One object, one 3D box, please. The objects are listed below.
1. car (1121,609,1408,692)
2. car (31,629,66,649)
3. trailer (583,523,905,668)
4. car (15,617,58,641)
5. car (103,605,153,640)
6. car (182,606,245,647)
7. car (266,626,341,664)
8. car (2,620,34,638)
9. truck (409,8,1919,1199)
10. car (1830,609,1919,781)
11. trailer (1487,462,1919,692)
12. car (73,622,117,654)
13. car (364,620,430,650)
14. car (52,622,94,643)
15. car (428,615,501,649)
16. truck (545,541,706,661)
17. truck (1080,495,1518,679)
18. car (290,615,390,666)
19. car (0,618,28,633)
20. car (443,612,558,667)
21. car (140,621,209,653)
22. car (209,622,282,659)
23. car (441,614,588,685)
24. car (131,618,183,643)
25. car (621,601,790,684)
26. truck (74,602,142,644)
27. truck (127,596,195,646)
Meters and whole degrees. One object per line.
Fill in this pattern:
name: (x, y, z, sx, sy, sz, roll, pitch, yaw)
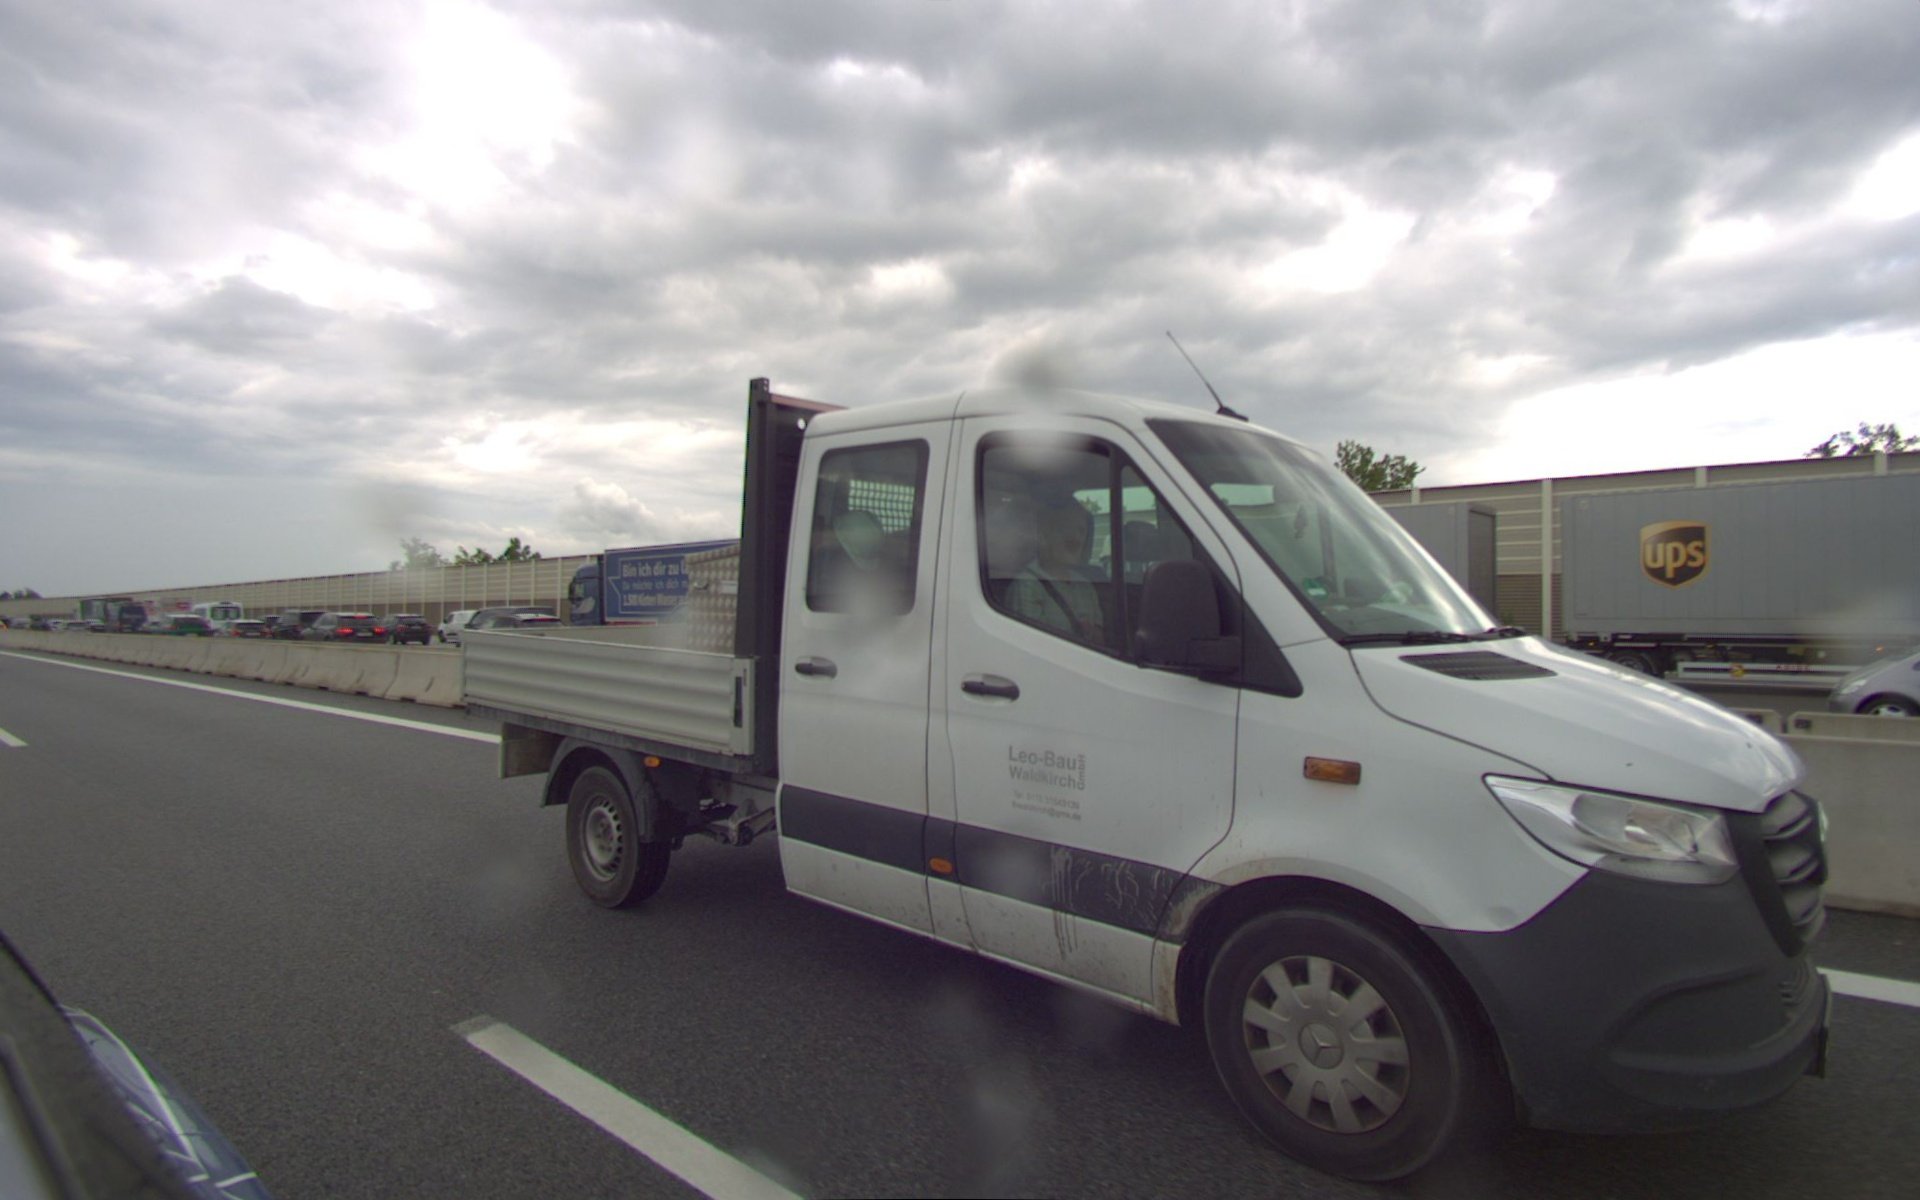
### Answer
car: (6.616, 1.039, 22.510, 5.805, 1.612, 2.039, -1, -1, 42)
car: (-92.255, 3.911, 102.435, 4.928, 1.950, 1.922, -1, -1, 40)
trailer: (-8.066, -0.003, 35.049, 14.309, 4.192, 3.026, -1, -1, 41)
car: (-76.618, 2.368, 83.941, 4.928, 1.950, 1.922, -1, -1, 40)
car: (-67.048, 1.809, 81.524, 4.927, 2.770, 2.106, -1, -1, 39)
car: (-47.764, 1.671, 64.714, 5.143, 2.492, 2.006, -1, -1, 39)
car: (-35.099, 2.387, 54.082, 4.675, 1.912, 2.006, -1, -1, 39)
car: (-106.931, 3.251, 114.846, 4.928, 1.950, 2.094, -1, -1, 40)
truck: (0.184, 0.234, 4.547, 7.143, 2.458, 2.283, -1, -1, 40)
car: (13.492, 1.084, 11.213, 5.805, 2.018, 2.039, -1, -1, 42)
trailer: (15.612, -0.347, 19.529, 9.279, 3.901, 2.693, -1, -1, 41)
car: (-77.056, 3.379, 90.099, 4.927, 2.770, 2.106, -1, -1, 39)
car: (-30.241, 1.857, 54.290, 4.358, 1.516, 1.554, -1, -1, 39)
car: (-66.311, 2.428, 75.671, 4.358, 1.516, 1.621, -1, -1, 39)
car: (-28.359, 1.803, 57.867, 4.973, 1.832, 1.790, -1, -1, 39)
truck: (-13.153, 0.088, 39.528, 6.690, 4.277, 3.039, -1, -1, 41)
truck: (8.189, -0.184, 26.061, 10.495, 3.928, 2.658, -1, -1, 41)
car: (-24.688, 1.554, 40.214, 5.424, 1.905, 1.899, -1, -1, 42)
car: (-126.233, 3.332, 135.019, 4.928, 1.950, 2.094, -1, -1, 40)
car: (-17.269, 1.430, 37.917, 5.430, 1.912, 1.913, -1, -1, 42)
car: (-42.668, 1.958, 54.930, 4.690, 1.644, 1.901, -1, -1, 39)
car: (-33.786, 1.875, 47.822, 4.205, 1.644, 1.794, -1, -1, 40)
car: (-13.221, 1.385, 29.843, 5.430, 1.912, 1.913, -1, -1, 42)
car: (-58.567, 2.203, 73.758, 4.930, 1.720, 2.105, -1, -1, 41)
car: (-7.389, 1.153, 29.059, 5.430, 2.175, 2.039, -1, -1, 42)
truck: (-103.556, 2.787, 122.835, 17.215, 4.894, 3.404, -1, -1, 40)
truck: (-82.302, 2.187, 104.151, 11.688, 4.894, 3.184, -1, -1, 40)
